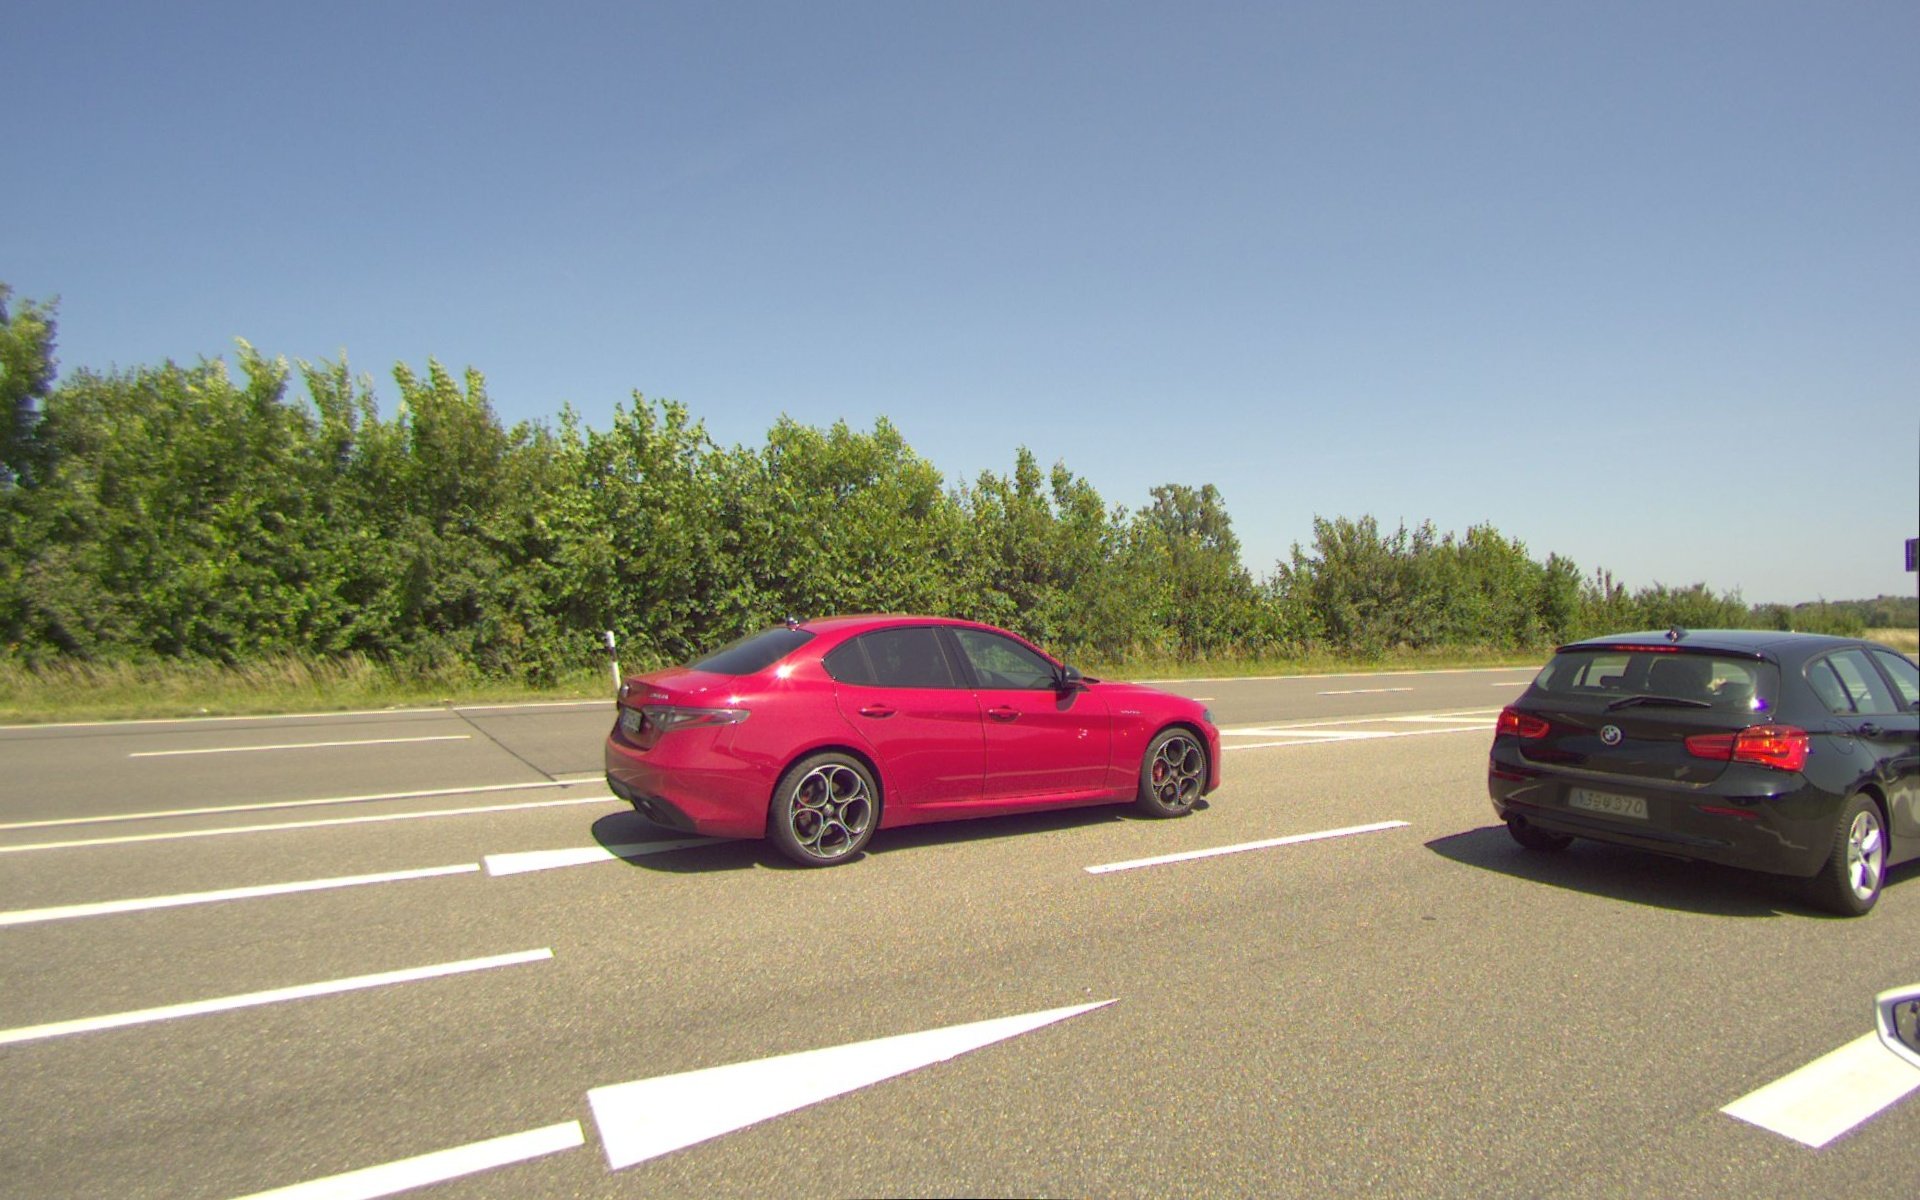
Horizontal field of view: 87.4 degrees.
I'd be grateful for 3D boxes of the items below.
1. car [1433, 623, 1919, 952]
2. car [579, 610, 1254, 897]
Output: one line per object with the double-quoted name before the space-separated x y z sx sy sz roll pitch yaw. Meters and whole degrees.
"car" 5.194 0.898 6.452 4.329 1.450 1.775 1 0 -30
"car" -0.157 0.820 7.098 4.515 1.440 1.740 1 0 -32
